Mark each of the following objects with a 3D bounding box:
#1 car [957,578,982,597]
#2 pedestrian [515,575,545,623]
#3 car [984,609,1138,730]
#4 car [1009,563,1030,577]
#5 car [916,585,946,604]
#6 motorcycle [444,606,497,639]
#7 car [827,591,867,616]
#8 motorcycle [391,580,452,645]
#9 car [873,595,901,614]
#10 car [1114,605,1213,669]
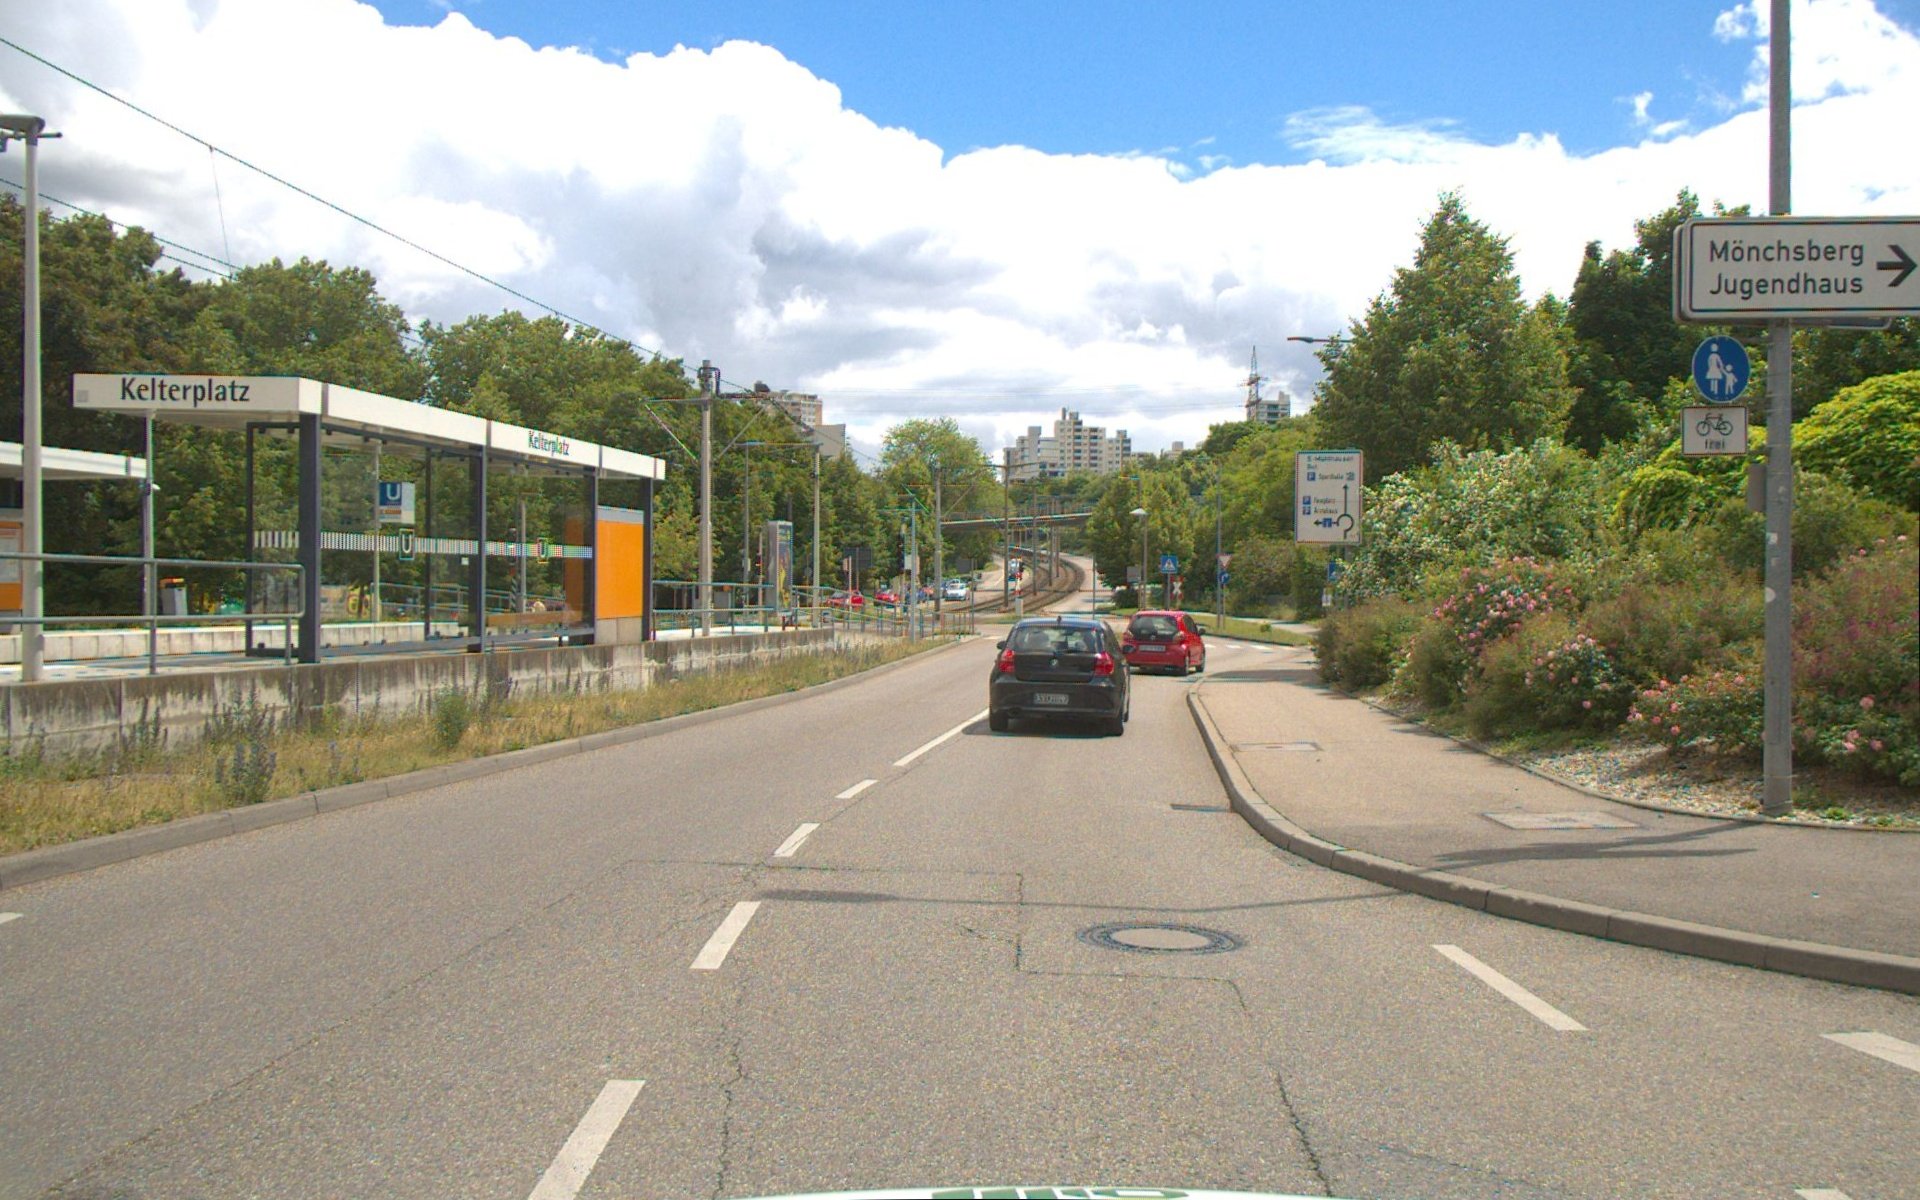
[{"bbox_3d":[0.988,-1.332,170.142,1.951,1.895,4.004,1,1,10],"label":"car"},{"bbox_3d":[-18.517,-0.038,71.162,0.941,2.048,0.821,1,1,26],"label":"pedestrian"},{"bbox_3d":[1.420,0.859,21.815,1.776,1.446,4.003,0,-1,7],"label":"car"},{"bbox_3d":[7.416,-3.748,206.344,1.951,1.625,4.423,0,0,12],"label":"car"},{"bbox_3d":[-2.492,-0.495,143.743,1.871,1.588,4.004,1,1,10],"label":"car"},{"bbox_3d":[-16.821,0.752,56.851,0.714,1.100,2.217,0,0,14],"label":"motorcycle"},{"bbox_3d":[-7.132,0.225,104.956,1.683,1.529,2.969,1,1,14],"label":"car"},{"bbox_3d":[-17.445,0.391,53.585,0.816,2.049,1.983,0,0,21],"label":"motorcycle"},{"bbox_3d":[-5.414,0.326,122.696,1.495,1.394,3.600,0,0,7],"label":"car"},{"bbox_3d":[4.862,0.844,39.123,1.728,1.457,3.480,0,0,17],"label":"car"}]
